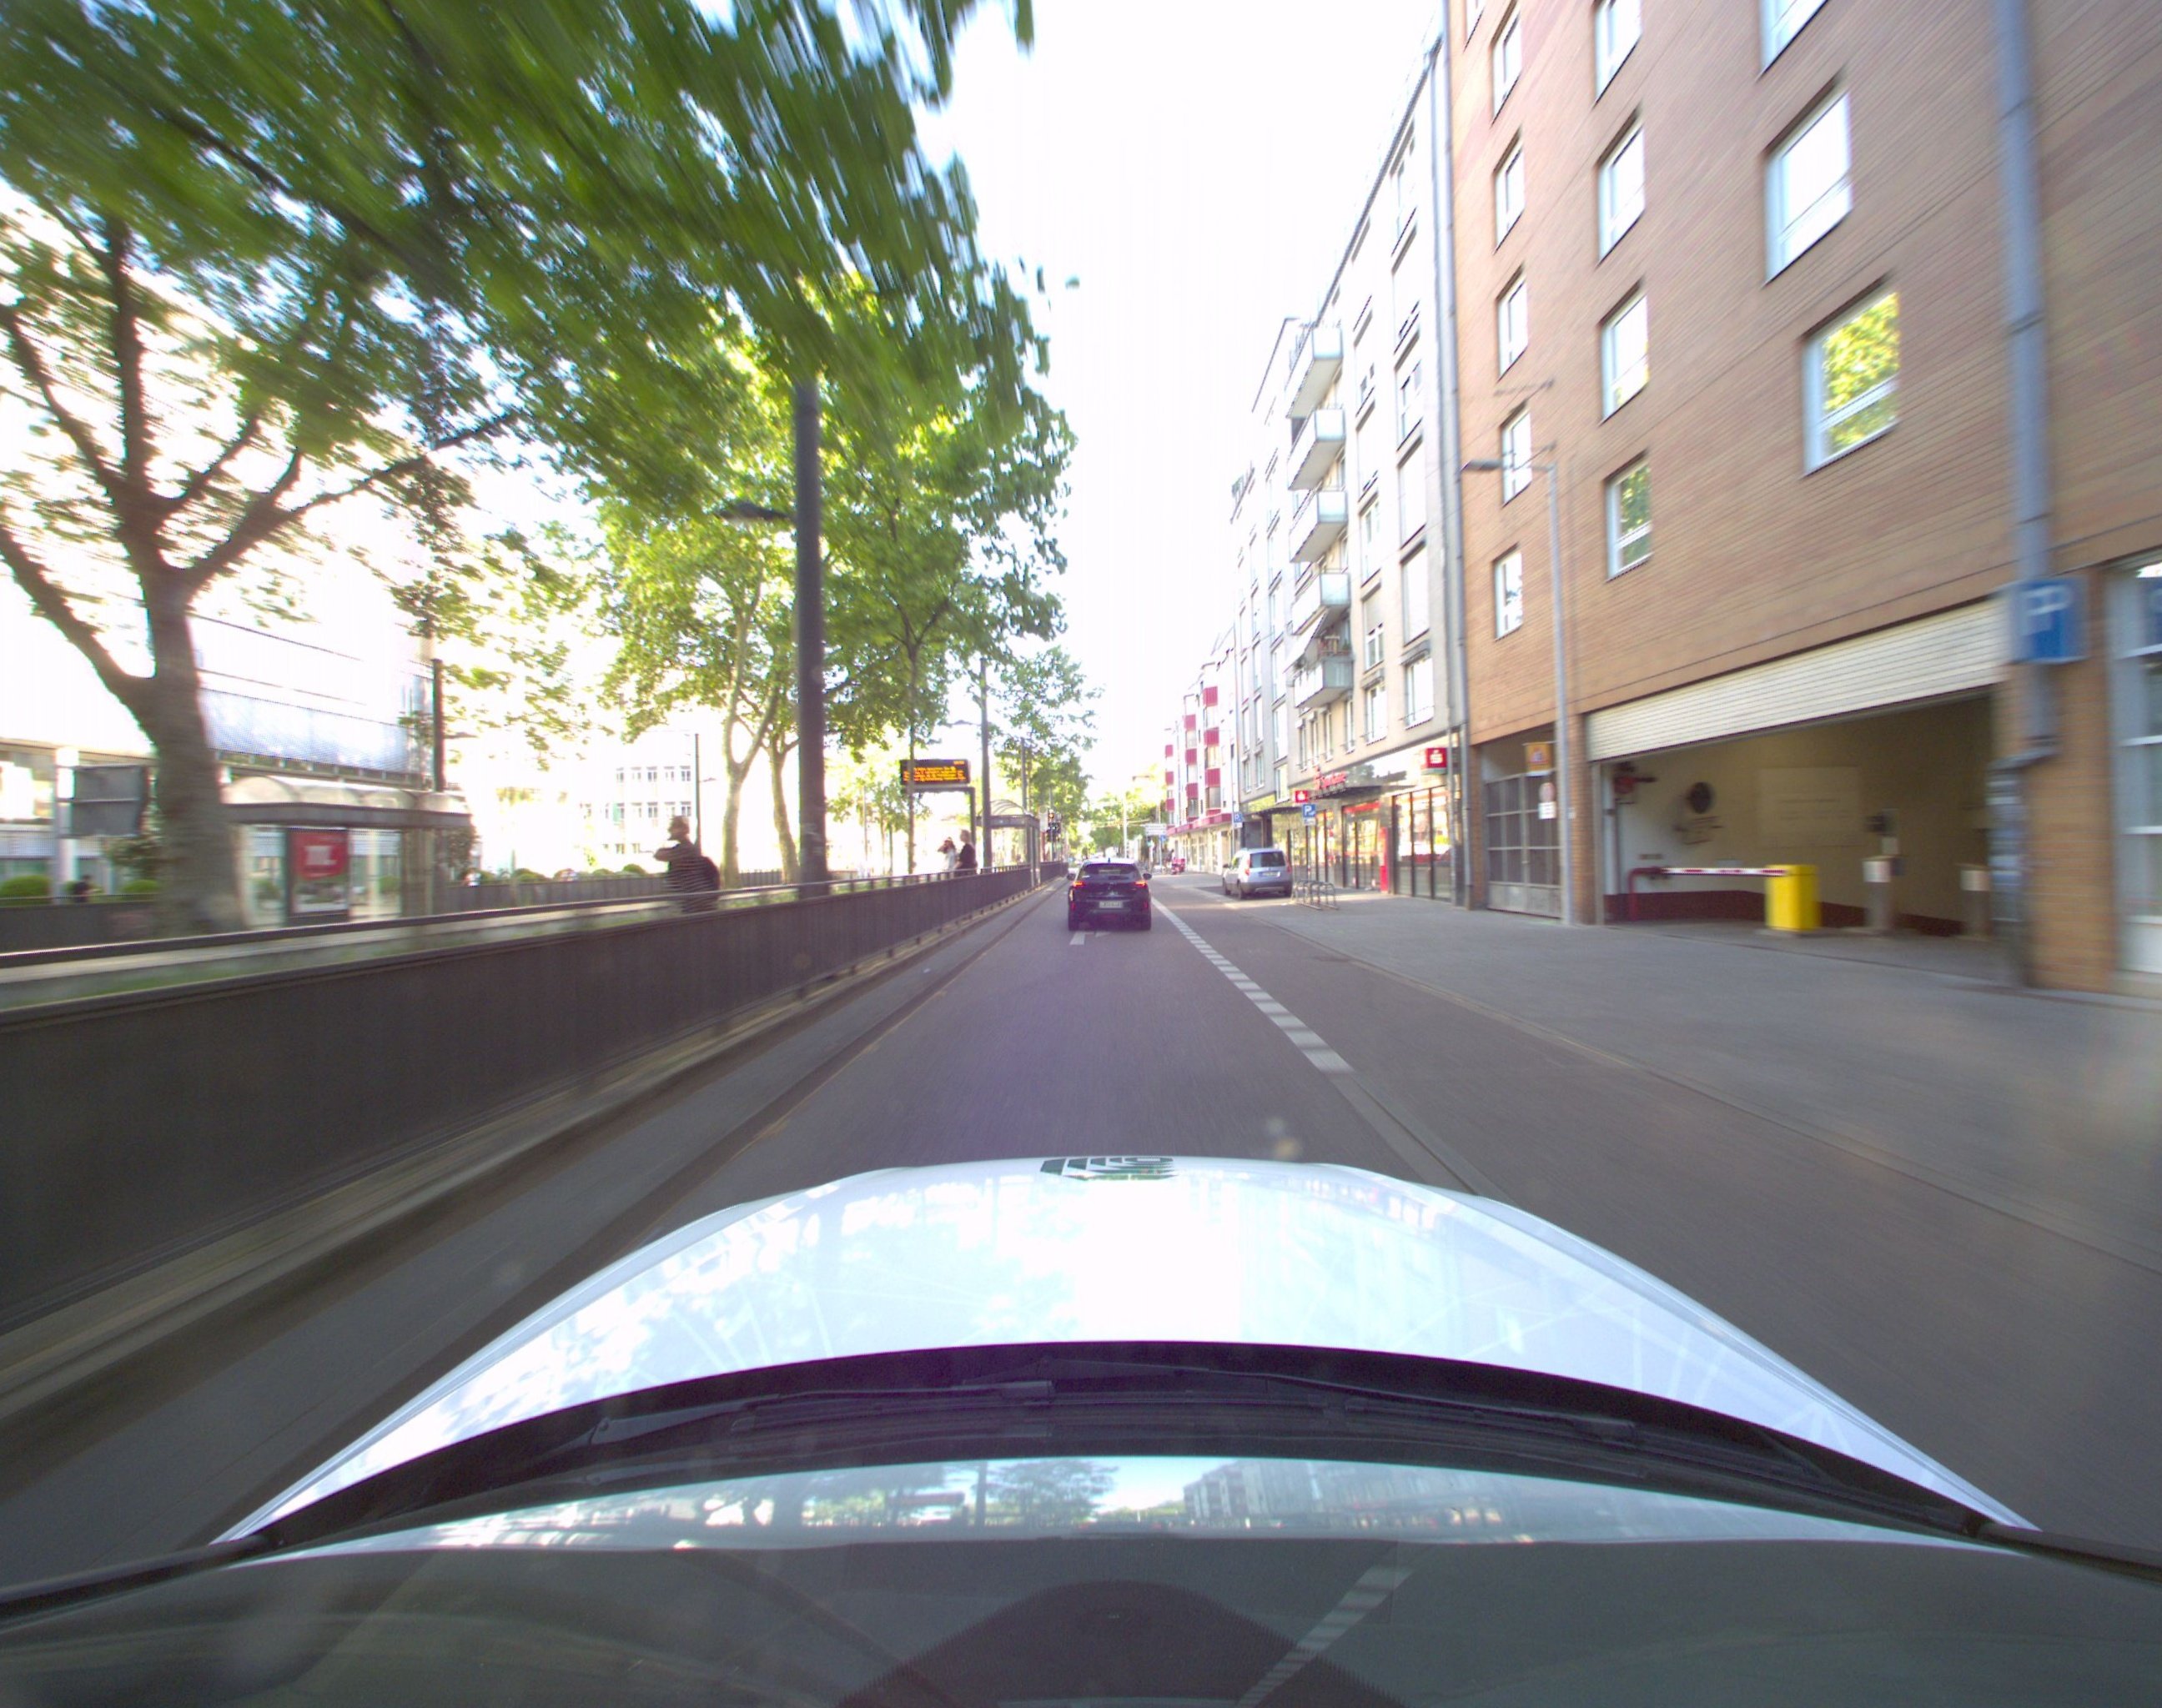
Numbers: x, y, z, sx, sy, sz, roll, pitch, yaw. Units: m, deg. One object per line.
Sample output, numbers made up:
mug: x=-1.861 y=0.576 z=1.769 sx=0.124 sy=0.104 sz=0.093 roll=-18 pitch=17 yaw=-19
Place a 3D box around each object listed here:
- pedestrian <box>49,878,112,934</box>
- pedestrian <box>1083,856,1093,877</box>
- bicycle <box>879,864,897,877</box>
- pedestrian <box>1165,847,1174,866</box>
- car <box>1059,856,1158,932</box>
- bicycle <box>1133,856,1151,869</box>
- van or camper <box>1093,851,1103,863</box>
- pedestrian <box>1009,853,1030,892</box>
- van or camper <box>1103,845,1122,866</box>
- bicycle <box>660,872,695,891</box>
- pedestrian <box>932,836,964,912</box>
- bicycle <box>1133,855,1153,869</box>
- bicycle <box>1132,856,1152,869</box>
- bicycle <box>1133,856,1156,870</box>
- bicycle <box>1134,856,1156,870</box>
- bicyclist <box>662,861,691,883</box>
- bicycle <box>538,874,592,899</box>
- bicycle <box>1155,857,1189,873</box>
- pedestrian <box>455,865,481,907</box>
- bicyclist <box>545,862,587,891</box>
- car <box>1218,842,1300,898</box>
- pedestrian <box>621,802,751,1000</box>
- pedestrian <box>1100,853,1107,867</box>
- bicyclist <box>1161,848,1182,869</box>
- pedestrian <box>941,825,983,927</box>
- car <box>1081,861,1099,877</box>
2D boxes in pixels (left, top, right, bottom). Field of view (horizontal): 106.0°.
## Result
pedestrian: x=-29.569 y=1.534 z=24.081 sx=0.903 sy=1.592 sz=0.767 roll=-2 pitch=0 yaw=0
pedestrian: x=0.574 y=1.068 z=67.973 sx=0.730 sy=1.746 sz=0.713 roll=-1 pitch=0 yaw=5
bicycle: x=-15.126 y=1.277 z=63.998 sx=0.808 sy=0.946 sz=1.729 roll=-1 pitch=0 yaw=7
pedestrian: x=8.883 y=0.262 z=81.820 sx=0.720 sy=1.858 sz=0.801 roll=-1 pitch=0 yaw=0
car: x=0.597 y=0.790 z=17.944 sx=1.898 sy=1.425 sz=4.216 roll=-1 pitch=0 yaw=1
bicycle: x=5.611 y=0.785 z=74.670 sx=1.615 sy=1.199 sz=0.497 roll=-2 pitch=-1 yaw=4
van or camper: x=4.258 y=0.669 z=203.525 sx=2.477 sy=2.993 sz=5.435 roll=1 pitch=0 yaw=1
pedestrian: x=-2.113 y=0.620 z=28.216 sx=0.624 sy=1.319 sz=0.801 roll=-1 pitch=0 yaw=1
van or camper: x=5.005 y=0.294 z=129.781 sx=2.368 sy=3.125 sz=7.548 roll=-4 pitch=0 yaw=-1
bicycle: x=-23.400 y=1.555 z=47.247 sx=0.798 sy=0.997 sz=2.584 roll=0 pitch=0 yaw=-1
pedestrian: x=-3.347 y=0.505 z=20.528 sx=0.643 sy=1.871 sz=0.753 roll=-1 pitch=0 yaw=1
bicycle: x=5.650 y=0.763 z=74.100 sx=1.823 sy=1.221 sz=0.496 roll=-1 pitch=0 yaw=3
bicycle: x=5.652 y=0.811 z=75.416 sx=1.793 sy=1.199 sz=0.546 roll=-2 pitch=-2 yaw=4
bicycle: x=5.728 y=0.781 z=73.252 sx=1.973 sy=1.199 sz=0.590 roll=-1 pitch=-1 yaw=-4
bicycle: x=5.713 y=0.782 z=72.593 sx=1.935 sy=1.170 sz=0.571 roll=-1 pitch=-1 yaw=-3
bicyclist: x=-23.430 y=1.043 z=47.193 sx=1.001 sy=1.250 sz=1.373 roll=0 pitch=0 yaw=-2
bicycle: x=-23.175 y=1.429 z=36.647 sx=0.798 sy=0.997 sz=2.584 roll=0 pitch=0 yaw=-1
bicycle: x=6.804 y=0.846 z=60.974 sx=0.968 sy=1.183 sz=2.569 roll=-1 pitch=0 yaw=-37
pedestrian: x=-29.192 y=1.528 z=38.811 sx=0.604 sy=1.976 sz=0.833 roll=0 pitch=0 yaw=-2
bicyclist: x=-23.173 y=1.015 z=36.682 sx=1.001 sy=1.250 sz=1.373 roll=0 pitch=0 yaw=-2
car: x=5.887 y=0.514 z=27.472 sx=1.826 sy=1.622 sz=4.285 roll=-4 pitch=0 yaw=1
pedestrian: x=-3.574 y=0.403 z=7.436 sx=0.726 sy=1.702 sz=0.863 roll=-1 pitch=0 yaw=3
pedestrian: x=3.363 y=0.870 z=120.723 sx=1.033 sy=2.024 sz=1.212 roll=-1 pitch=0 yaw=-1
bicyclist: x=6.785 y=0.367 z=60.999 sx=1.065 sy=1.540 sz=1.067 roll=-1 pitch=-1 yaw=-37
pedestrian: x=-2.273 y=0.412 z=15.623 sx=0.644 sy=1.887 sz=0.661 roll=-1 pitch=0 yaw=1
car: x=1.006 y=1.629 z=88.206 sx=1.826 sy=1.623 sz=4.285 roll=1 pitch=0 yaw=1
